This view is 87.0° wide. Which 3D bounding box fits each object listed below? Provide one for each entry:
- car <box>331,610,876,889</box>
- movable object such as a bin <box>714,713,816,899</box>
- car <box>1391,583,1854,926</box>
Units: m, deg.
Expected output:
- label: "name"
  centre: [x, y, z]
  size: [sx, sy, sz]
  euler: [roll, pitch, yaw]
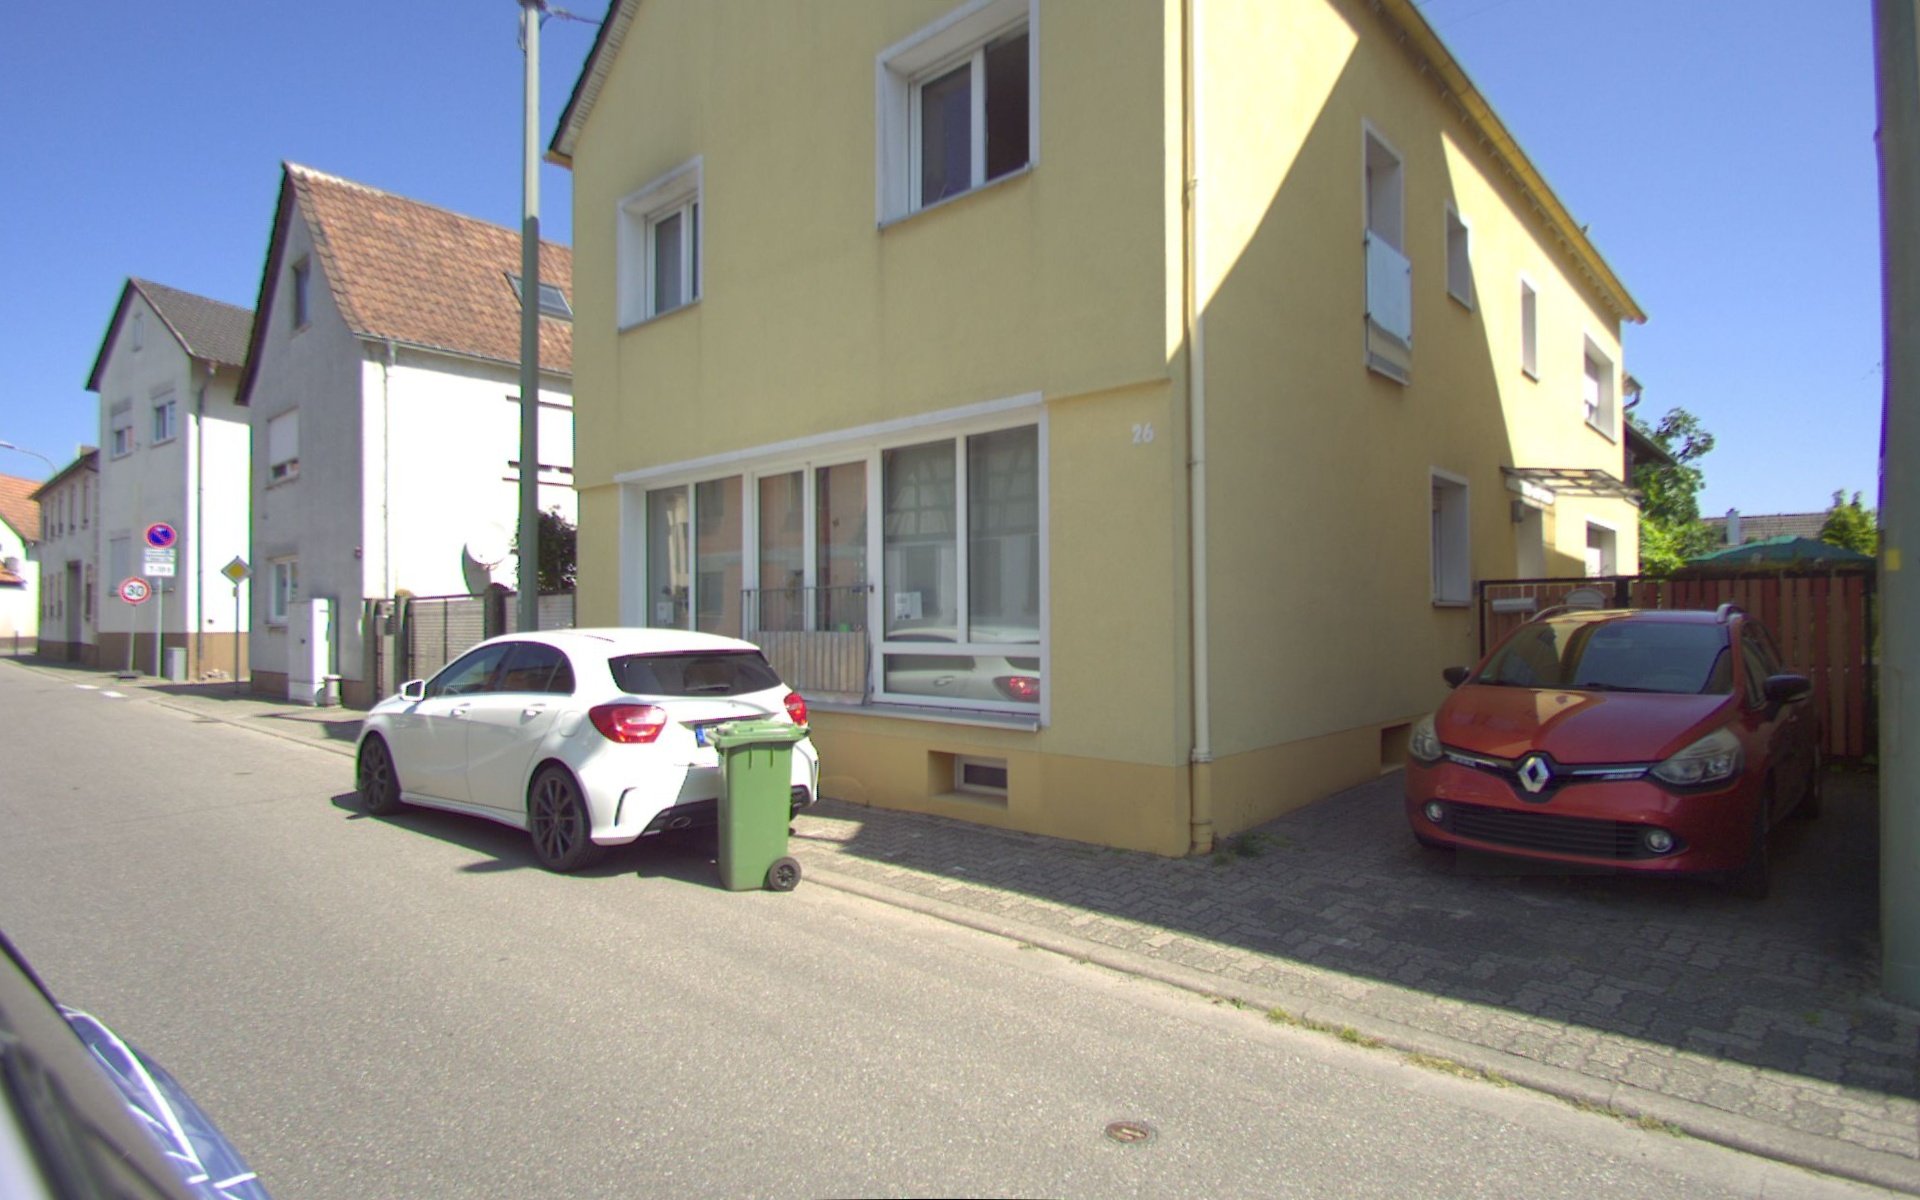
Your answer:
- label: "car"
  centre: [-2.781, 0.851, 7.427]
  size: [4.266, 1.475, 1.816]
  euler: [-1, -2, 39]
- label: "movable object such as a bin"
  centre: [-1.093, 1.119, 5.643]
  size: [0.419, 0.911, 0.497]
  euler: [0, -1, -30]
- label: "car"
  centre: [4.261, 0.687, 6.260]
  size: [1.675, 1.469, 3.704]
  euler: [-1, -1, 45]
